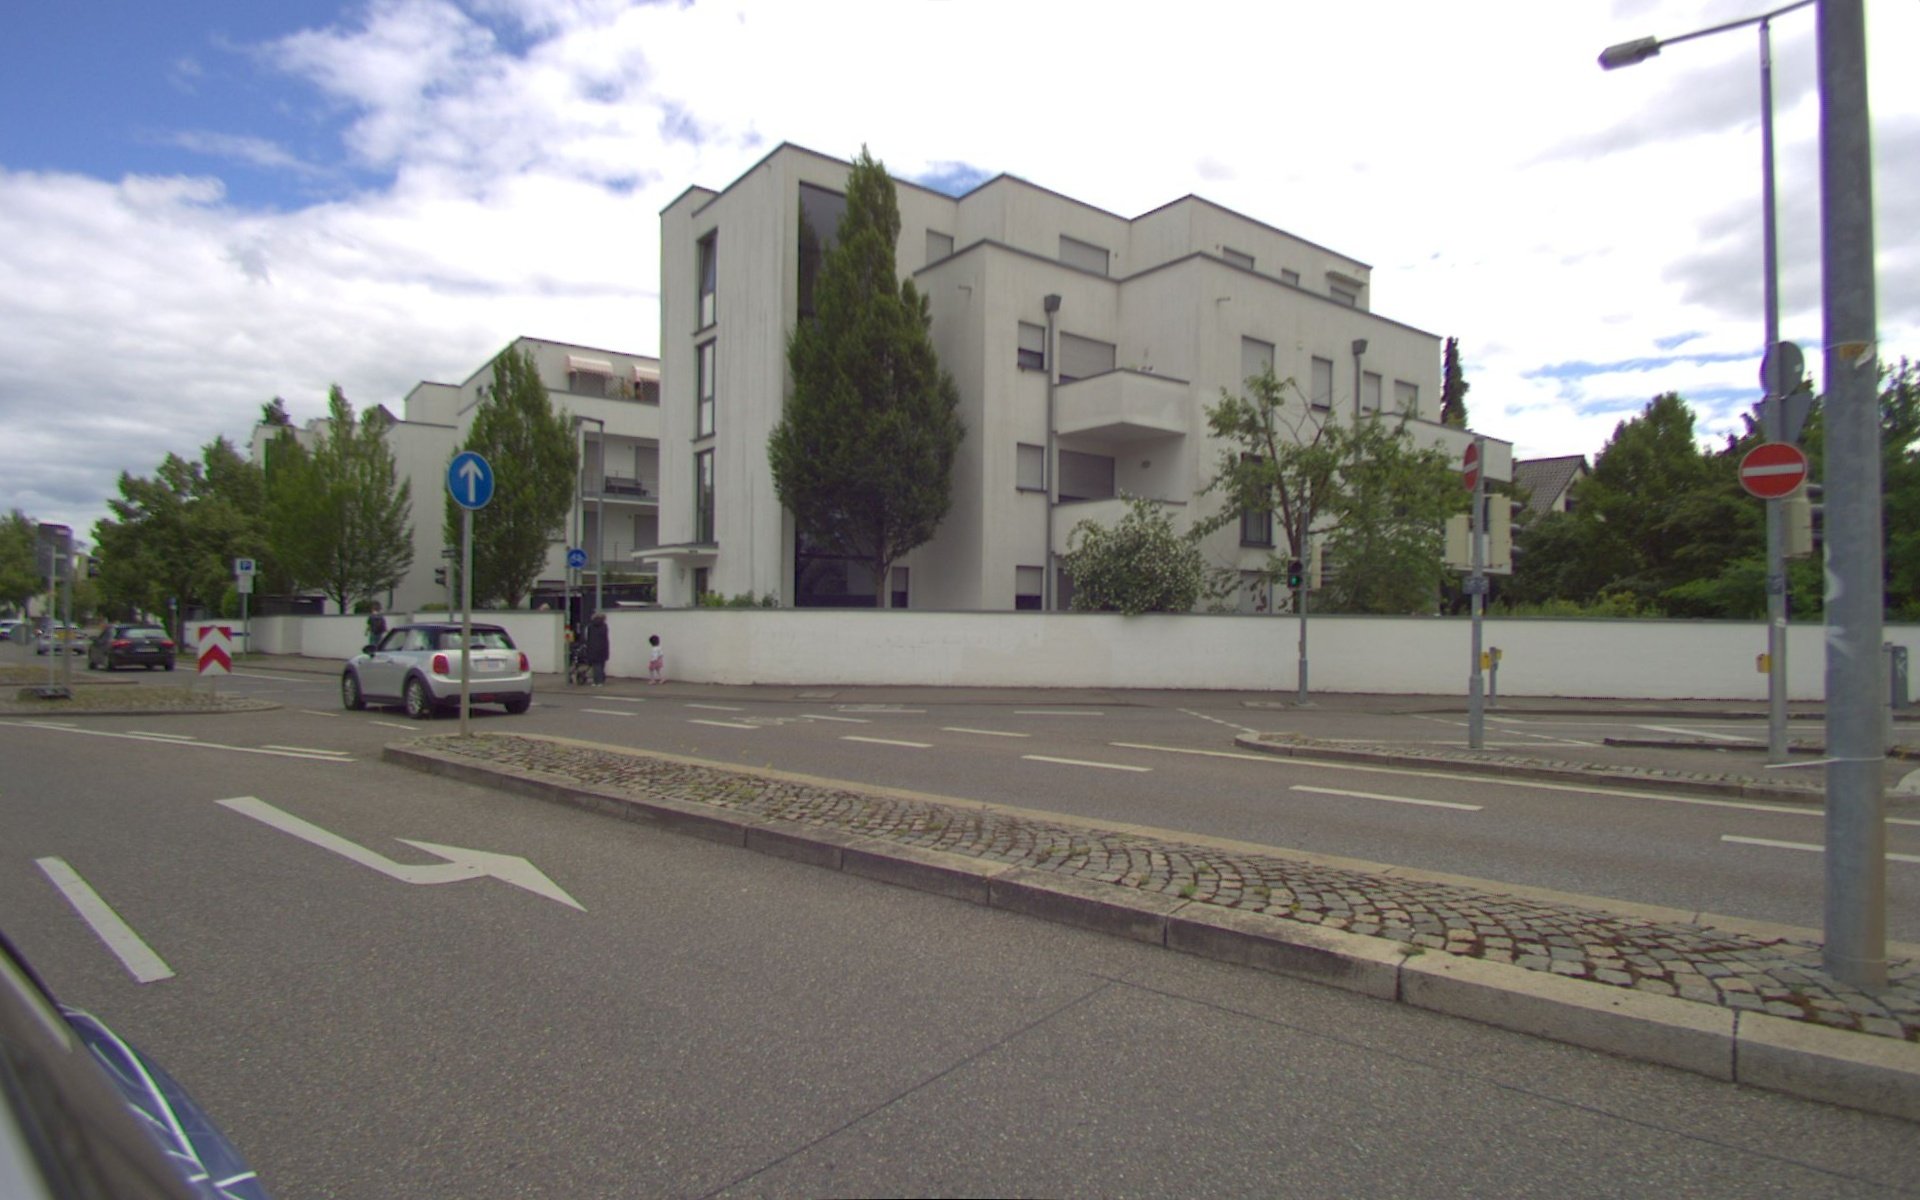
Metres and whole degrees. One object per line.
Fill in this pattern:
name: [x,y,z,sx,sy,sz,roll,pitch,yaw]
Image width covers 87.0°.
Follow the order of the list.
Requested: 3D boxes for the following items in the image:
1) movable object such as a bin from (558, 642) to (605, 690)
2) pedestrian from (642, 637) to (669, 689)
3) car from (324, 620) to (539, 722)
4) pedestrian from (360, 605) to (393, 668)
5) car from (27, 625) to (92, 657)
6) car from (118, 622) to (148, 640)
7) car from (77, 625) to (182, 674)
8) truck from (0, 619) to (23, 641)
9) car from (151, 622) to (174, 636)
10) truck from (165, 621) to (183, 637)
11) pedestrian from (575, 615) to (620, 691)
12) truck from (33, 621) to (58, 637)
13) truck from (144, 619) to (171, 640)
movable object such as a bin: [-8.310,1.441,22.194,0.985,0.967,0.492,-1,2,40]
pedestrian: [-6.519,1.343,21.679,0.444,1.070,0.322,-1,2,40]
car: [-8.500,1.059,16.176,3.814,1.420,1.627,-1,-3,39]
pedestrian: [-18.672,1.155,32.391,0.871,1.962,0.641,-1,1,42]
car: [-43.949,1.972,49.355,3.945,1.455,1.780,-1,-2,40]
car: [-76.923,2.876,94.161,1.887,1.665,4.009,2,-3,-36]
car: [-25.549,1.495,31.088,3.914,1.401,1.703,-1,-4,39]
truck: [-79.130,2.494,83.983,1.590,1.804,4.008,3,-3,-38]
car: [-92.168,3.327,116.935,1.860,1.628,4.009,2,-3,-36]
truck: [-129.037,4.810,166.142,1.970,2.564,4.503,2,-2,-43]
pedestrian: [-7.783,1.128,21.724,0.731,1.554,0.526,-1,2,39]
truck: [-93.706,2.982,103.692,1.594,1.671,4.008,3,-3,-38]
truck: [-108.658,3.989,137.071,2.601,2.794,6.270,2,-2,-37]
